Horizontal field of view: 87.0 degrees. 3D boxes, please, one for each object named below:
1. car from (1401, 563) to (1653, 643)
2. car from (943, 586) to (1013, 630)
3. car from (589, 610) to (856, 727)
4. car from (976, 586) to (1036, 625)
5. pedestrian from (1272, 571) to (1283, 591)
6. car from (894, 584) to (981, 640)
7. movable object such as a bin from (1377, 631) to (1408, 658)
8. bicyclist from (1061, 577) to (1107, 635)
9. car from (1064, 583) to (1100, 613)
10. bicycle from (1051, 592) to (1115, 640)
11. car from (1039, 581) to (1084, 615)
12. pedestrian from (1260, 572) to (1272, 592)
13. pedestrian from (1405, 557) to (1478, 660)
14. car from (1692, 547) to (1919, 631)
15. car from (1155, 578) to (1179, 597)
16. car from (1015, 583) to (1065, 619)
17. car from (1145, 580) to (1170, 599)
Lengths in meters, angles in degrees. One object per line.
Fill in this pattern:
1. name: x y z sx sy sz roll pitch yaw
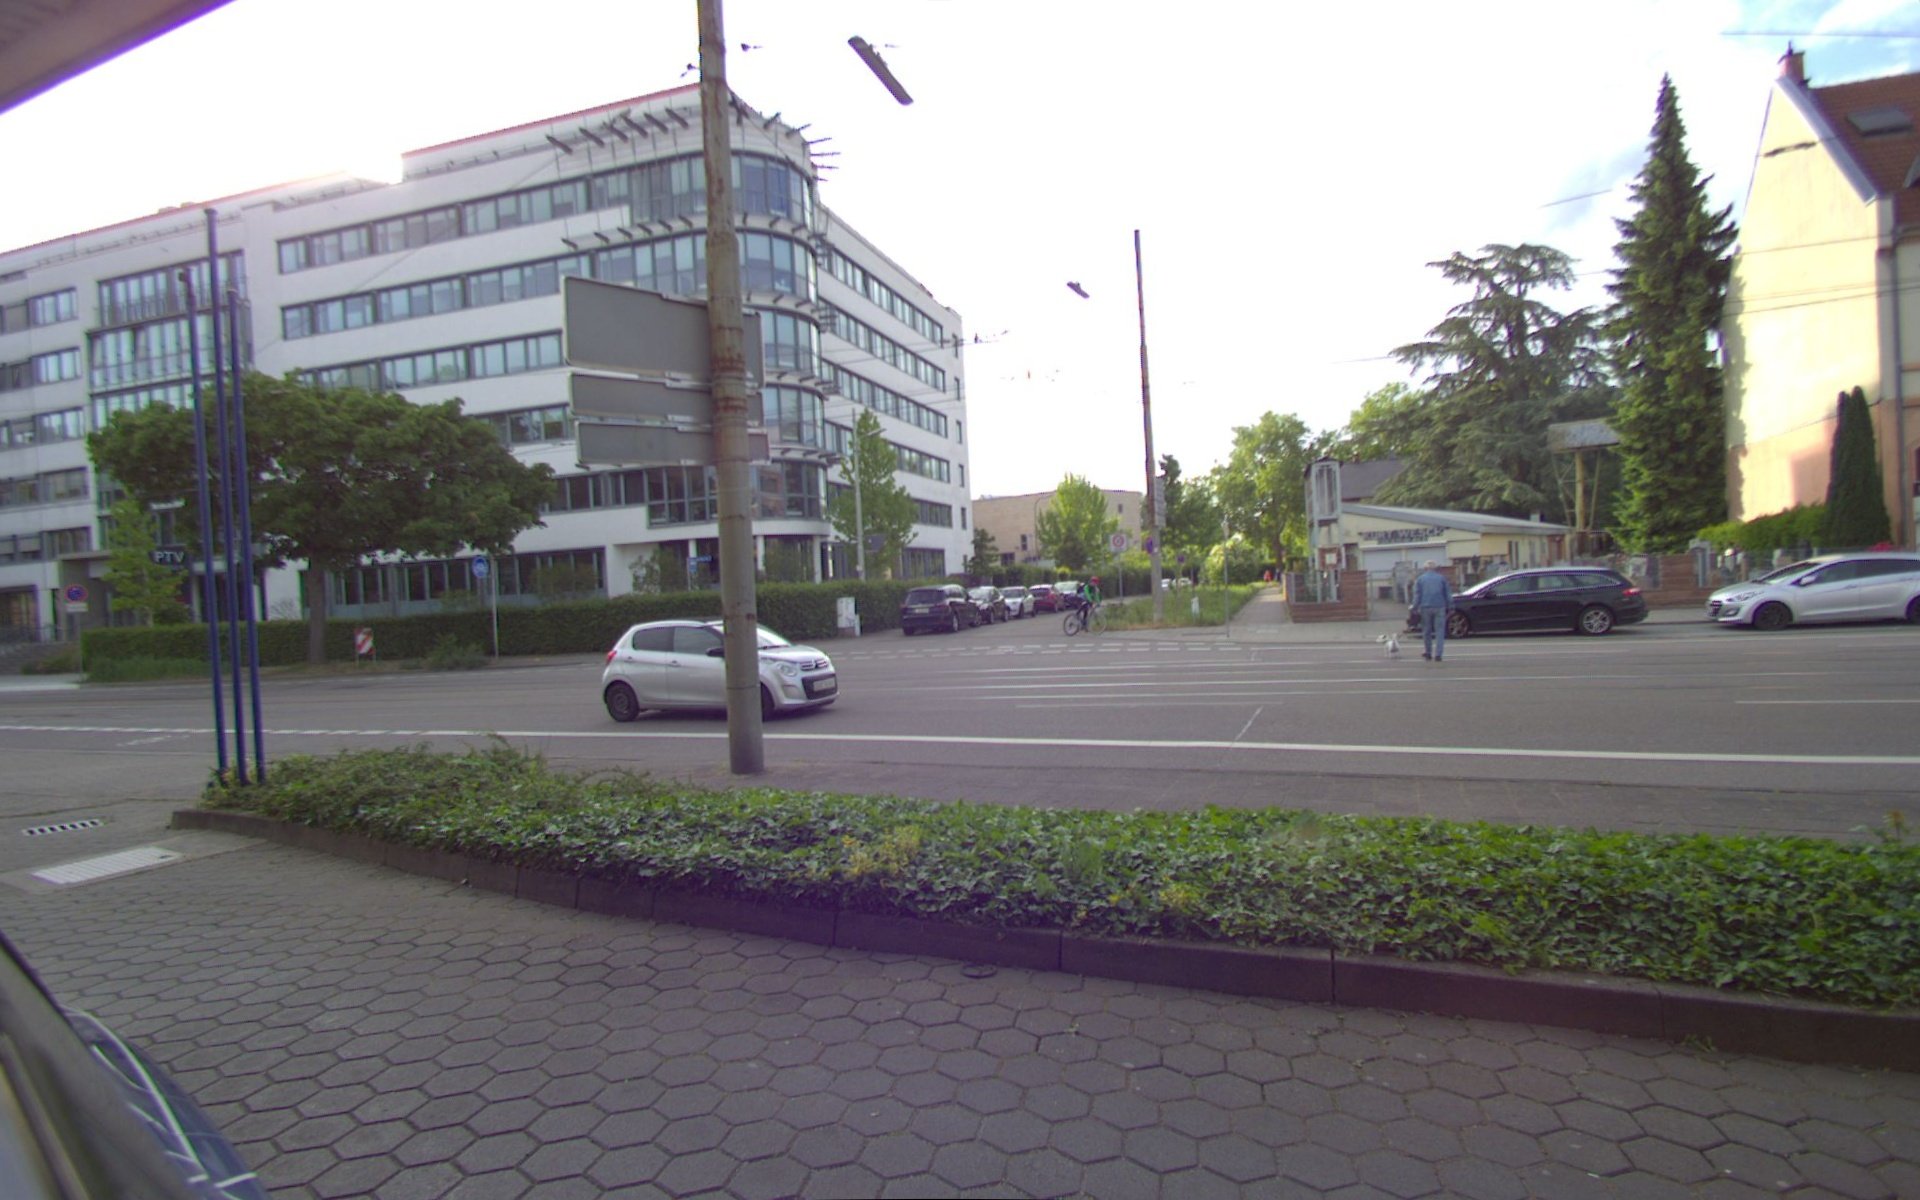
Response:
1. car: 12.917 0.057 23.438 4.742 1.511 2.001 -3 1 21
2. car: 0.798 0.297 40.969 1.929 1.551 4.274 -3 0 13
3. car: -3.449 0.995 14.777 3.404 1.443 1.678 -3 2 22
4. car: 2.146 0.221 45.780 1.929 1.530 4.274 -3 0 13
5. pedestrian: 29.782 -1.774 95.009 0.899 1.865 0.942 -3 -1 20
6. car: -0.721 0.365 35.409 1.994 1.704 4.274 -3 1 13
7. movable object such as a bin: 7.764 0.804 18.189 0.478 0.424 0.675 -3 1 22
8. bicyclist: 3.690 0.161 30.163 0.852 1.617 1.032 -5 3 -30
9. car: 8.094 -0.159 66.750 1.845 1.748 4.256 -3 0 13
10. bicycle: 3.658 0.460 30.227 0.852 1.320 1.925 -5 3 -30
11. car: 5.838 -0.140 57.715 1.929 1.748 4.512 -3 0 13
12. pedestrian: 28.789 -1.713 95.236 0.899 1.865 0.942 -3 -1 20
13. pedestrian: 8.206 0.142 17.249 1.000 1.680 0.961 -2 1 30
14. car: 18.428 -0.243 21.377 4.424 1.494 1.713 -3 1 21
15. car: 21.691 -1.312 106.157 1.849 1.748 4.246 -3 0 19
16. car: 4.179 0.032 52.486 1.929 1.650 4.274 -3 0 13
17. car: 19.700 -1.064 100.787 1.849 1.748 4.247 -3 0 19
